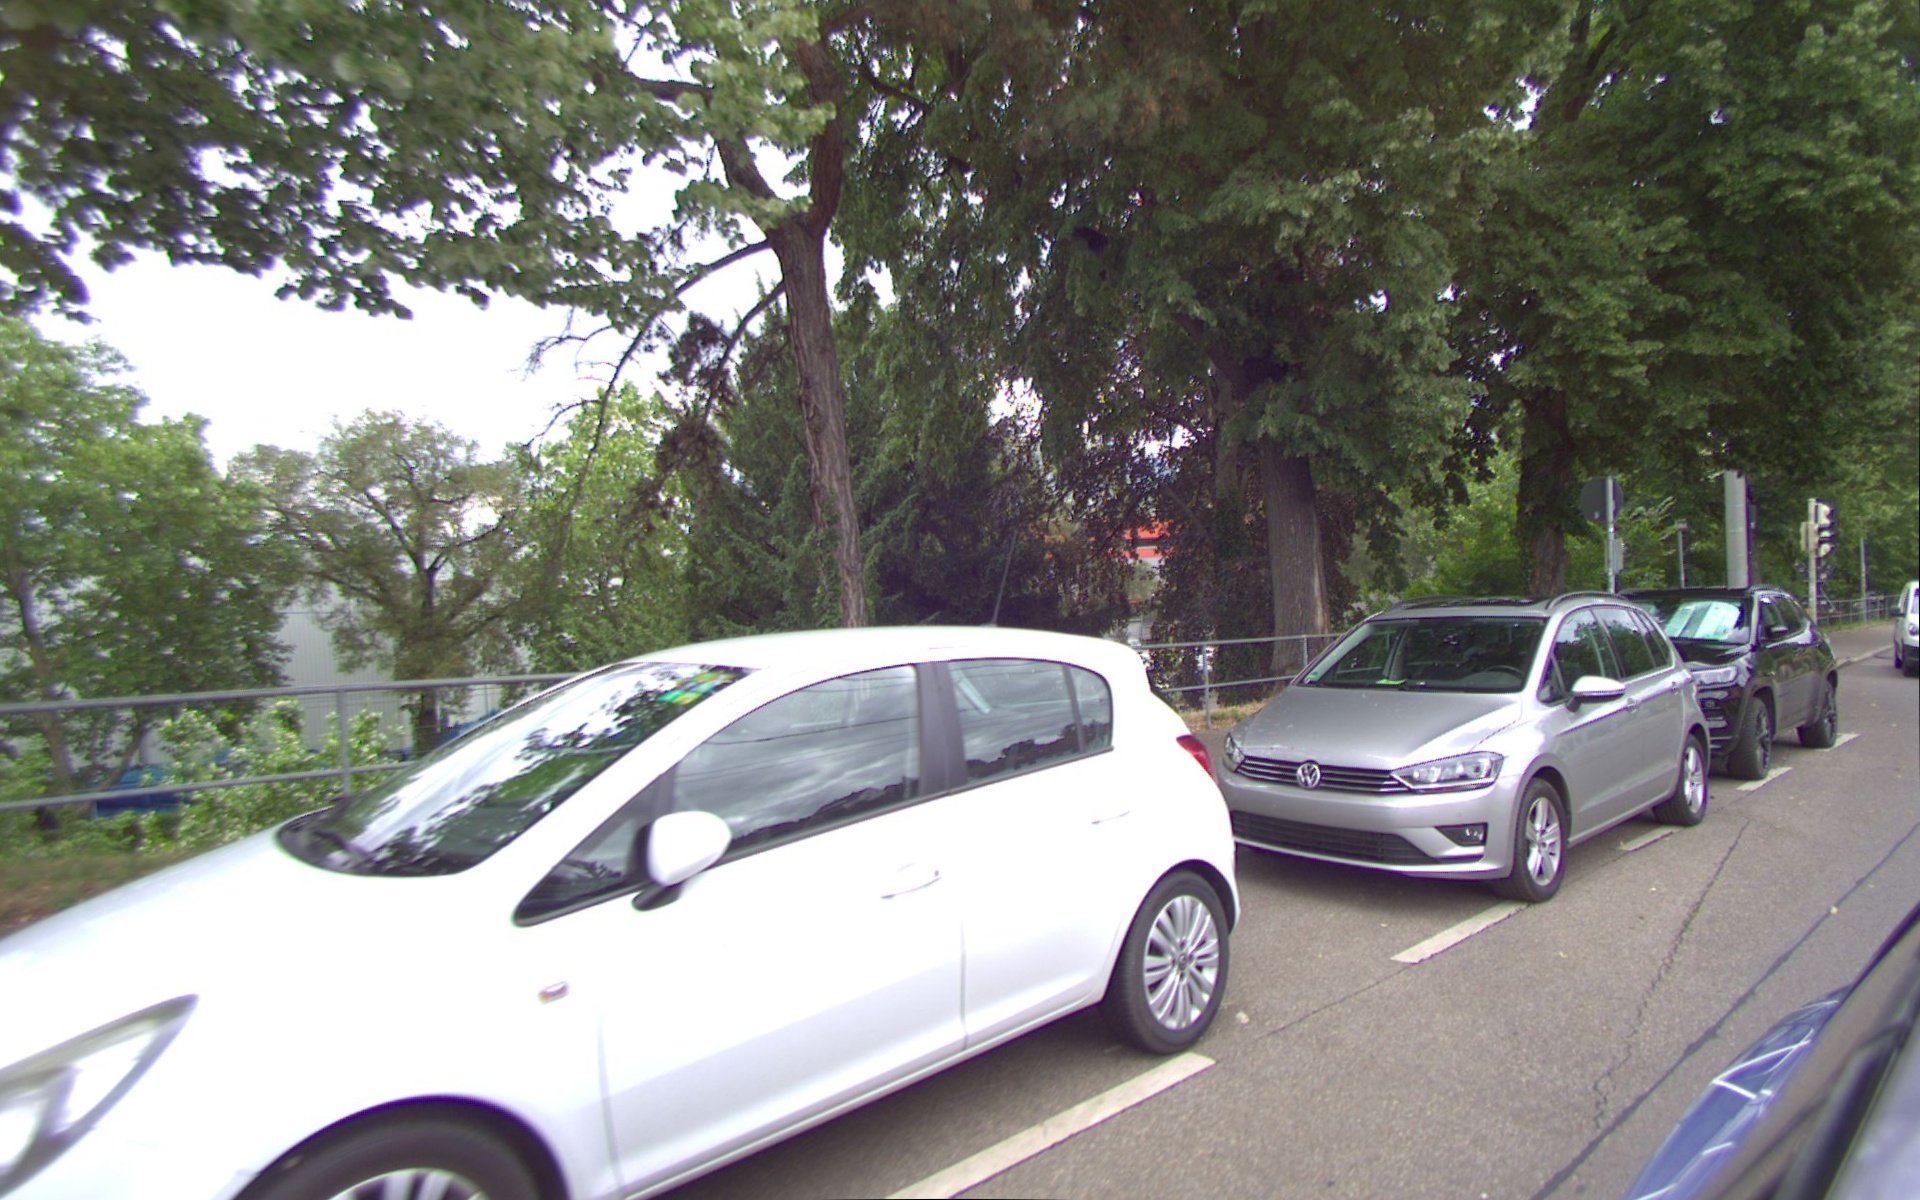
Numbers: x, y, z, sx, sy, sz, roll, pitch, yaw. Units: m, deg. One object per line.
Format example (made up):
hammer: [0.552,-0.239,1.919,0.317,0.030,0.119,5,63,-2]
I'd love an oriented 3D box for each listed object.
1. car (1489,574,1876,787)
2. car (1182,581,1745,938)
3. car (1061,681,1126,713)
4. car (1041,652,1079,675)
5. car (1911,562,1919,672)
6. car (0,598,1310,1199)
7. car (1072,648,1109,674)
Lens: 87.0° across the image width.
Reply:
car: [7.223,0.604,9.943,4.517,1.635,1.908,-1,-1,-39]
car: [3.491,0.694,6.617,4.288,1.595,1.737,-1,0,-40]
car: [8.482,6.172,64.567,1.790,1.524,4.346,-2,1,-31]
car: [8.100,5.162,82.419,1.959,1.487,4.351,-1,1,-10]
car: [19.161,0.239,19.040,1.805,1.945,4.408,-1,1,44]
car: [-0.720,0.818,3.149,3.994,1.536,1.631,-1,-2,-42]
car: [10.619,4.941,82.539,1.960,1.738,4.348,-1,1,-6]
